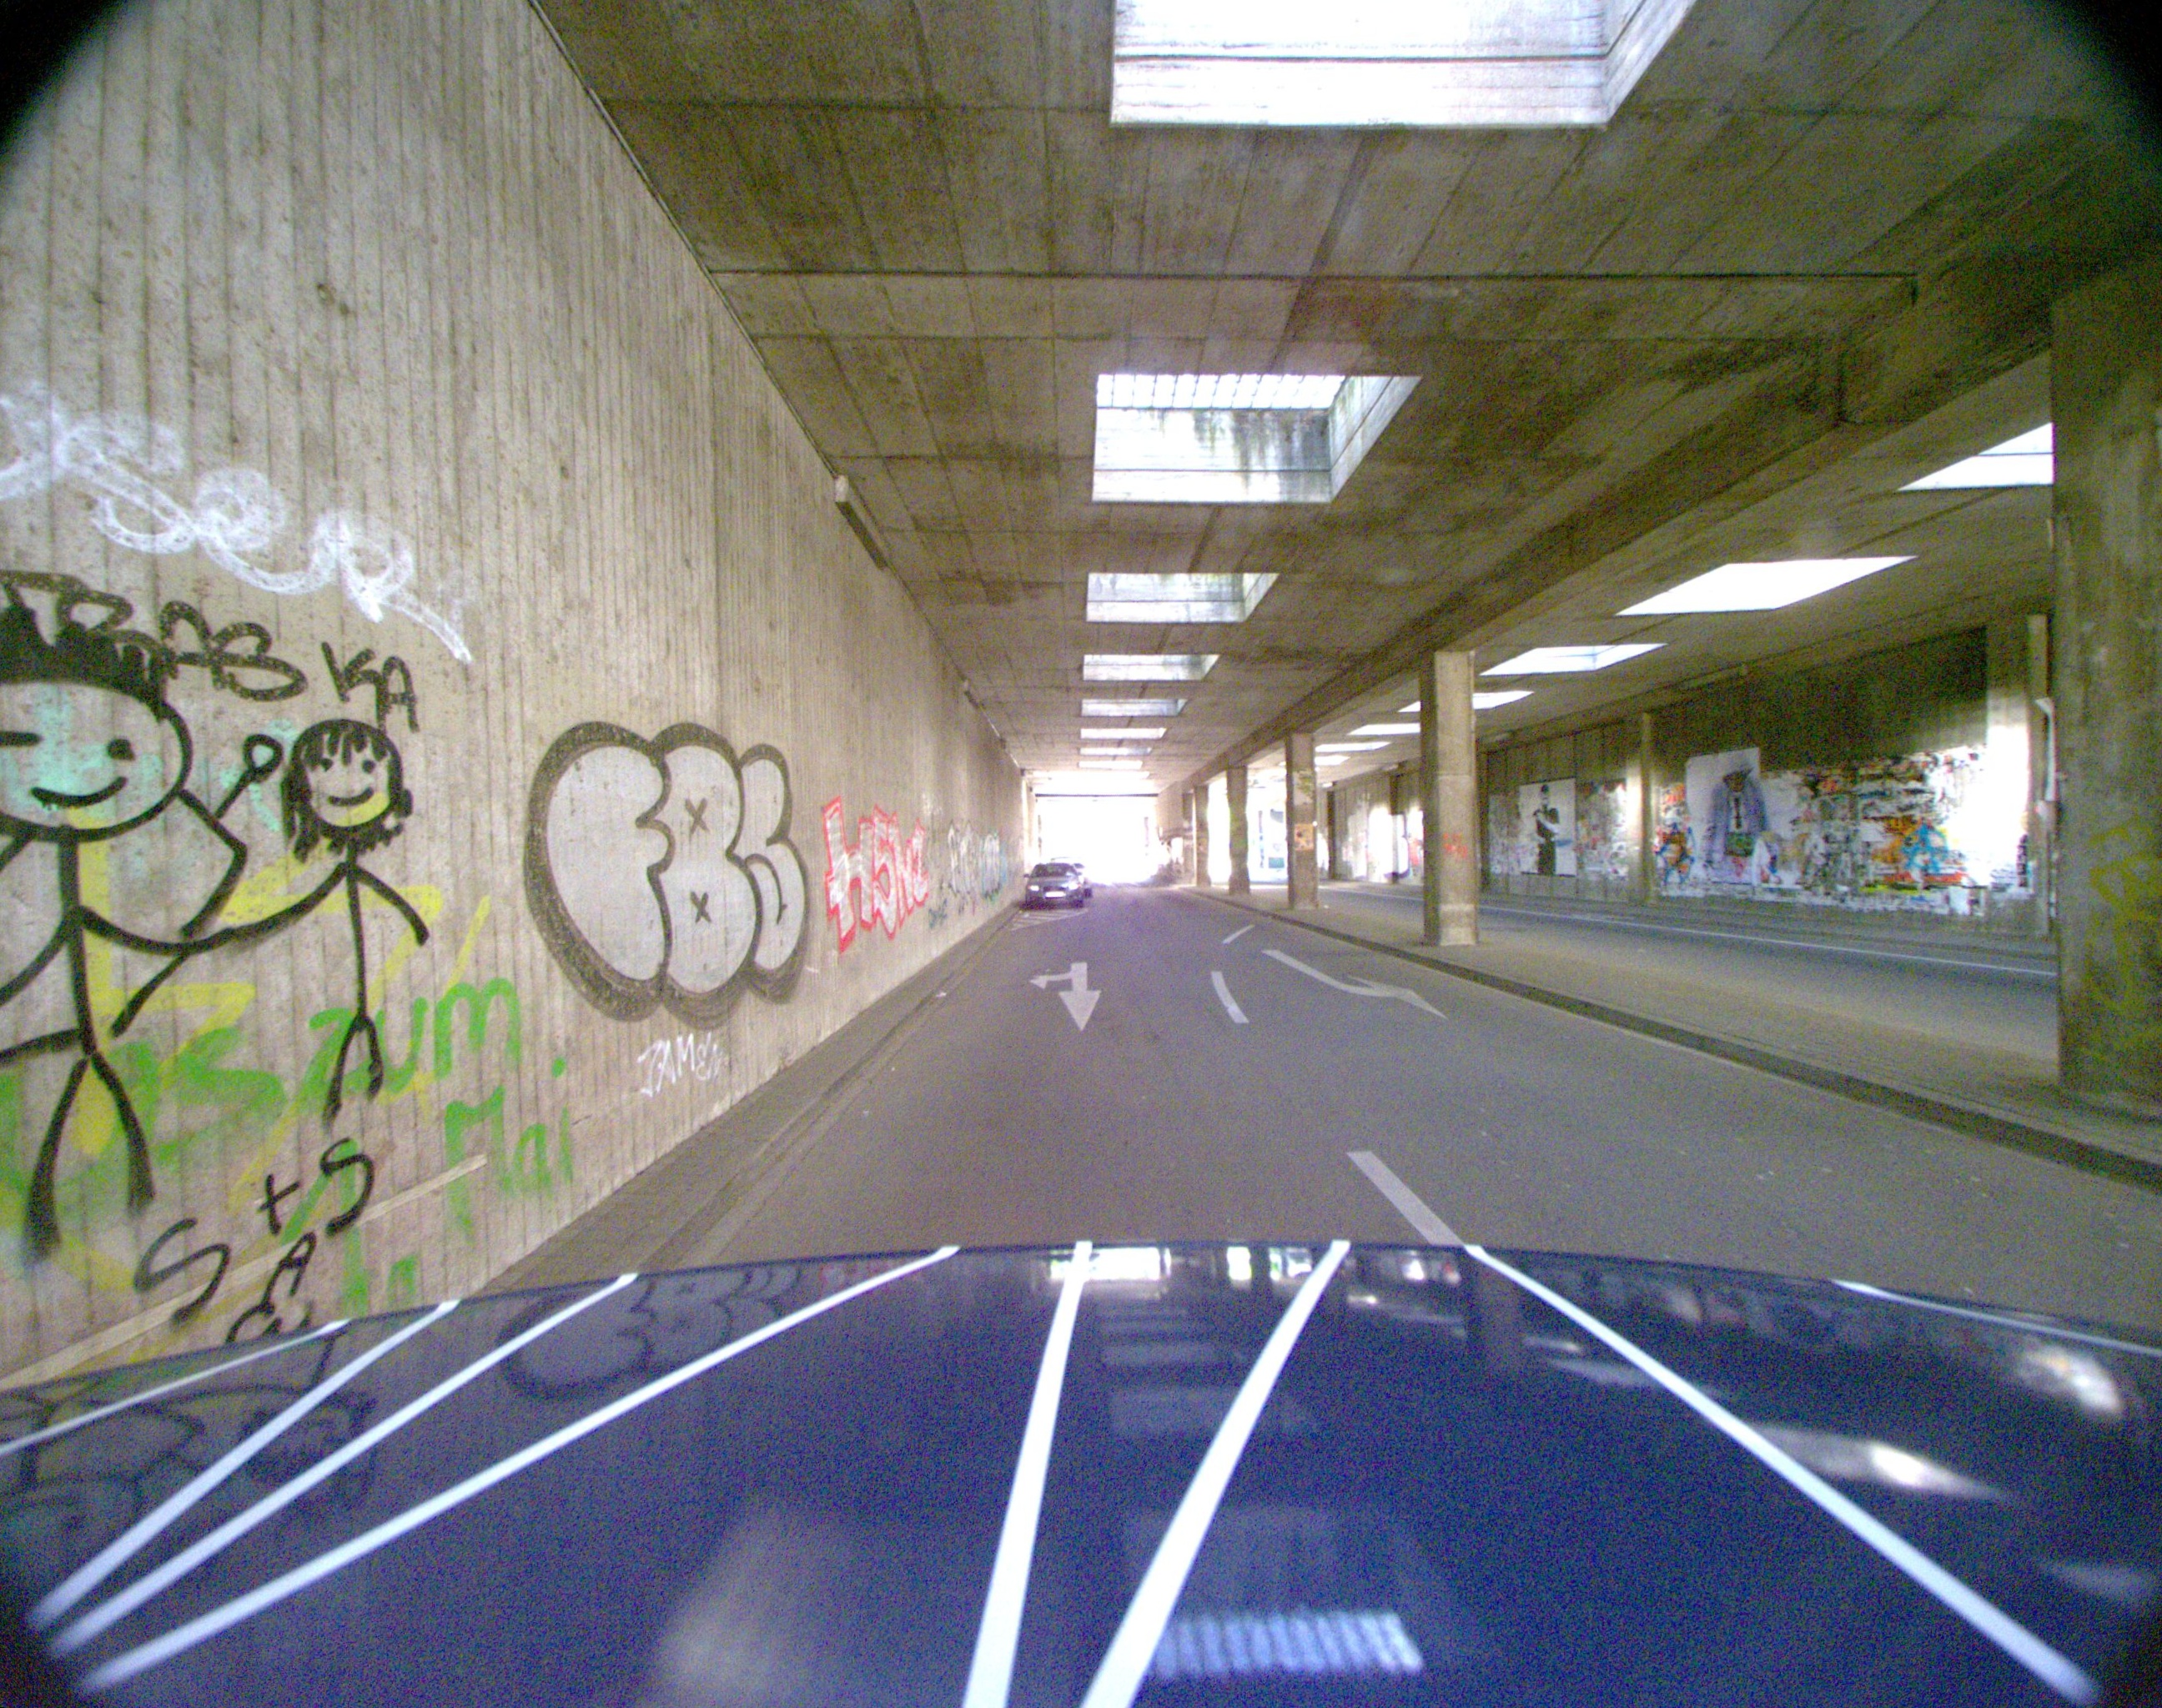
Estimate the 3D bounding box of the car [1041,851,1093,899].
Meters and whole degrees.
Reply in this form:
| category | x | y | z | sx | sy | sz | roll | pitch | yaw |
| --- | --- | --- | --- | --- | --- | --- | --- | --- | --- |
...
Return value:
| category | x | y | z | sx | sy | sz | roll | pitch | yaw |
| --- | --- | --- | --- | --- | --- | --- | --- | --- | --- |
| car | -0.493 | 0.766 | 29.824 | 1.861 | 1.709 | 4.000 | -2 | 0 | 1 |

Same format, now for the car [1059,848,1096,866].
| category | x | y | z | sx | sy | sz | roll | pitch | yaw |
| --- | --- | --- | --- | --- | --- | --- | --- | --- | --- |
| car | -0.386 | 0.337 | 84.318 | 3.998 | 1.841 | 1.811 | -1 | 0 | -3 |

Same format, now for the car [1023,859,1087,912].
| category | x | y | z | sx | sy | sz | roll | pitch | yaw |
| --- | --- | --- | --- | --- | --- | --- | --- | --- | --- |
| car | -0.735 | 0.925 | 24.013 | 1.808 | 1.460 | 4.000 | -2 | 0 | 1 |
